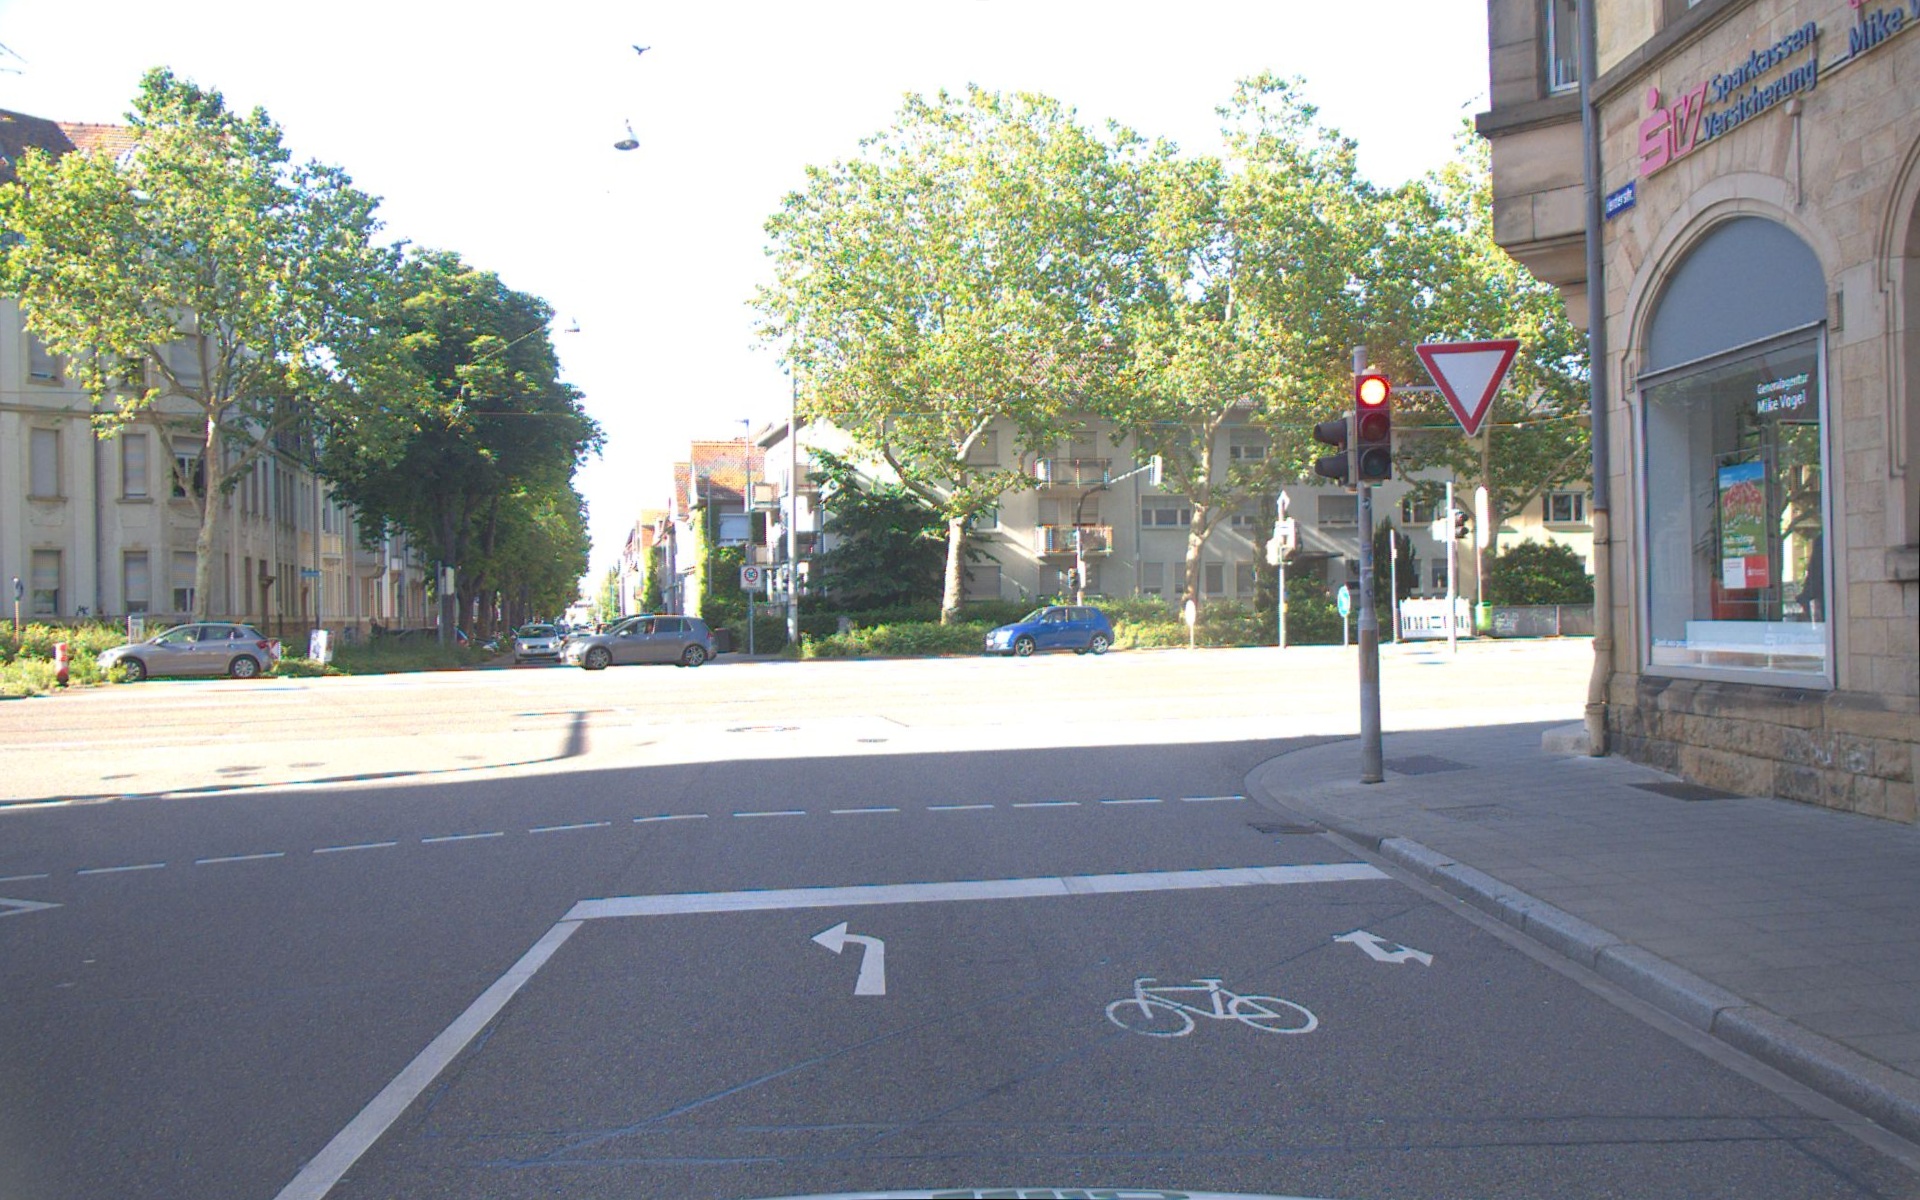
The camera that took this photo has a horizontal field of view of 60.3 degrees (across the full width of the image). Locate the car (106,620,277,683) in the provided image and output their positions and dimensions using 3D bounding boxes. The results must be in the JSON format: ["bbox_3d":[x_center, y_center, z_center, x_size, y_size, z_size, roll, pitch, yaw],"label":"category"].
[{"bbox_3d":[-18.989,1.249,41.017,3.728,1.425,1.635,-1,0,-22],"label":"car"}]

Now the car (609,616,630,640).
[{"bbox_3d":[-30.045,2.461,145.936,1.742,1.952,3.523,-3,0,-12],"label":"car"}]

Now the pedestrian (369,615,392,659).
[{"bbox_3d":[-19.709,1.267,56.289,0.693,1.467,0.486,1,-1,-23],"label":"pedestrian"}]

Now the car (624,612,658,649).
[{"bbox_3d":[-18.207,1.732,94.378,1.742,1.952,3.523,-3,0,-12],"label":"car"}]

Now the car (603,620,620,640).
[{"bbox_3d":[-37.935,3.268,180.185,1.742,1.952,3.523,-3,0,-12],"label":"car"}]

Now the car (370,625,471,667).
[{"bbox_3d":[-20.447,1.742,62.807,3.572,1.483,1.650,-1,0,-16],"label":"car"}]

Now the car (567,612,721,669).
[{"bbox_3d":[-8.615,1.088,45.099,3.884,1.425,1.635,-1,0,-22],"label":"car"}]

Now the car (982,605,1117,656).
[{"bbox_3d":[2.682,0.900,49.807,3.721,1.425,1.638,-1,0,-17],"label":"car"}]

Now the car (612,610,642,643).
[{"bbox_3d":[-21.012,1.662,104.291,1.742,1.952,3.523,-3,0,-12],"label":"car"}]

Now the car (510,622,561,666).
[{"bbox_3d":[-16.167,1.642,63.079,1.669,1.509,3.523,-3,1,-12],"label":"car"}]

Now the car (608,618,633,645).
[{"bbox_3d":[-26.233,2.393,127.710,1.742,1.952,3.523,-3,0,-12],"label":"car"}]
